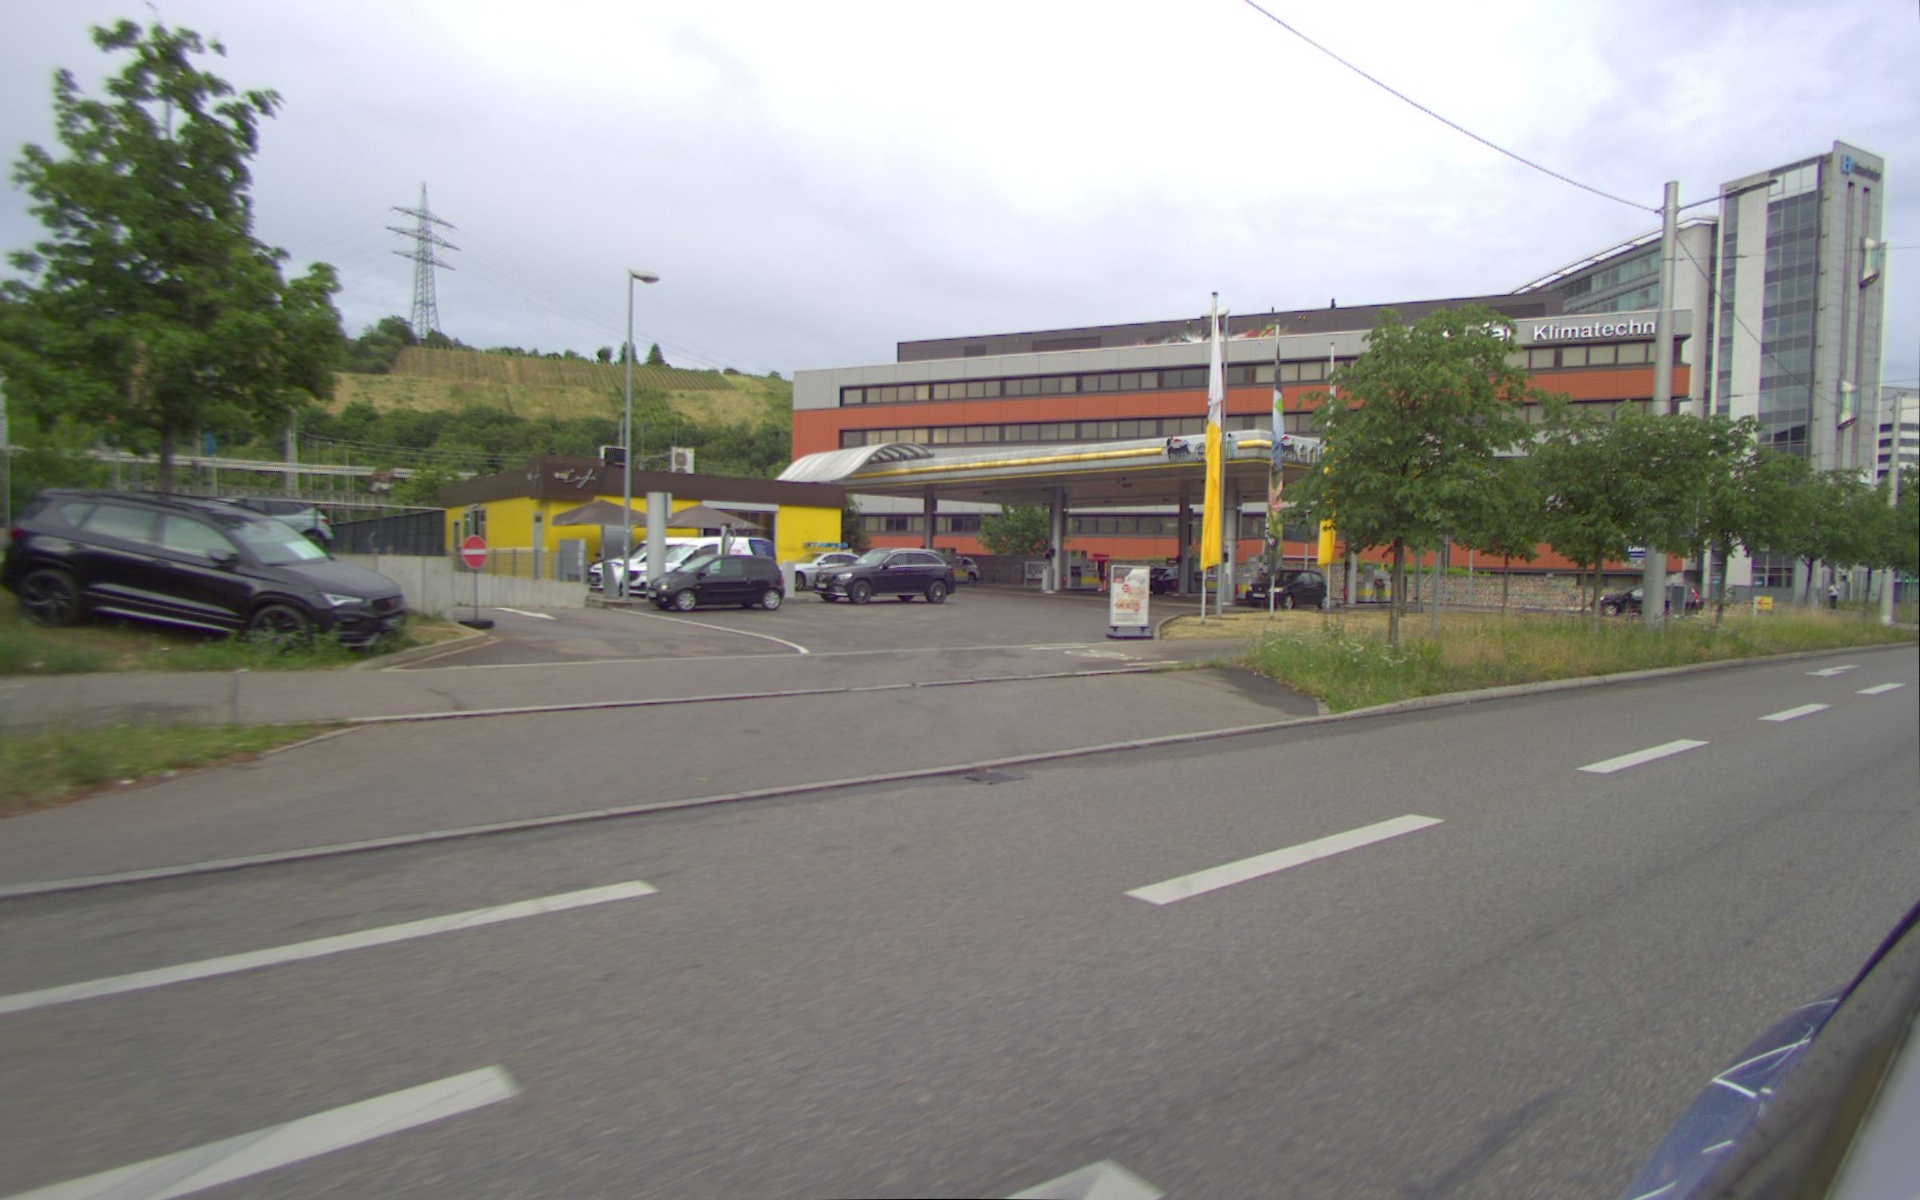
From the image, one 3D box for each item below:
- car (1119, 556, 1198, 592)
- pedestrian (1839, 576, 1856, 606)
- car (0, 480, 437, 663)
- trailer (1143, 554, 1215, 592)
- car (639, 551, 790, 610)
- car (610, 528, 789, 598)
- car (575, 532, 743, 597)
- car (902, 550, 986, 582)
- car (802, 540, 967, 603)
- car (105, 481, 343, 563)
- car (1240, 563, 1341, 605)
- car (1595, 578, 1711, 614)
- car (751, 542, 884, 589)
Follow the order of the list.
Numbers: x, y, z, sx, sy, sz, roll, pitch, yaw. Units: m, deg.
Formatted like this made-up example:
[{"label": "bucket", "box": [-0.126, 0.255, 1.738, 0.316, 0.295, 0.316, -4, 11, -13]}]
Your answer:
[{"label": "car", "box": [10.322, -1.339, 52.412, 3.930, 1.668, 1.903, 0, 6, -41]}, {"label": "pedestrian", "box": [58.167, -0.570, 66.349, 0.675, 1.925, 0.672, -1, -1, 26]}, {"label": "car", "box": [-9.180, -0.377, 12.582, 4.303, 1.838, 1.882, 4, 3, -4]}, {"label": "trailer", "box": [13.383, -1.688, 61.847, 3.958, 2.173, 1.824, 3, 2, 25]}, {"label": "car", "box": [-6.124, -0.517, 25.368, 3.426, 1.354, 1.395, -1, 4, -38]}, {"label": "car", "box": [-7.514, -1.065, 29.400, 4.634, 1.882, 1.998, 0, 3, -40]}, {"label": "car", "box": [-9.358, -1.104, 31.643, 4.634, 1.882, 1.998, 0, 3, -40]}, {"label": "car", "box": [-0.871, -1.894, 56.925, 4.520, 1.686, 1.997, 0, 0, -41]}, {"label": "car", "box": [-2.242, -0.856, 30.629, 4.630, 1.757, 2.000, 0, 3, -38]}, {"label": "car", "box": [-17.201, -1.775, 23.931, 1.821, 1.664, 4.290, 2, 1, 18]}, {"label": "car", "box": [12.288, -0.599, 37.543, 3.714, 1.436, 1.784, 0, 3, -39]}, {"label": "car", "box": [32.947, -0.177, 48.276, 4.316, 1.667, 1.777, 0, 0, 27]}, {"label": "car", "box": [-5.313, -1.276, 38.116, 4.634, 1.628, 1.998, 0, 3, -41]}]
